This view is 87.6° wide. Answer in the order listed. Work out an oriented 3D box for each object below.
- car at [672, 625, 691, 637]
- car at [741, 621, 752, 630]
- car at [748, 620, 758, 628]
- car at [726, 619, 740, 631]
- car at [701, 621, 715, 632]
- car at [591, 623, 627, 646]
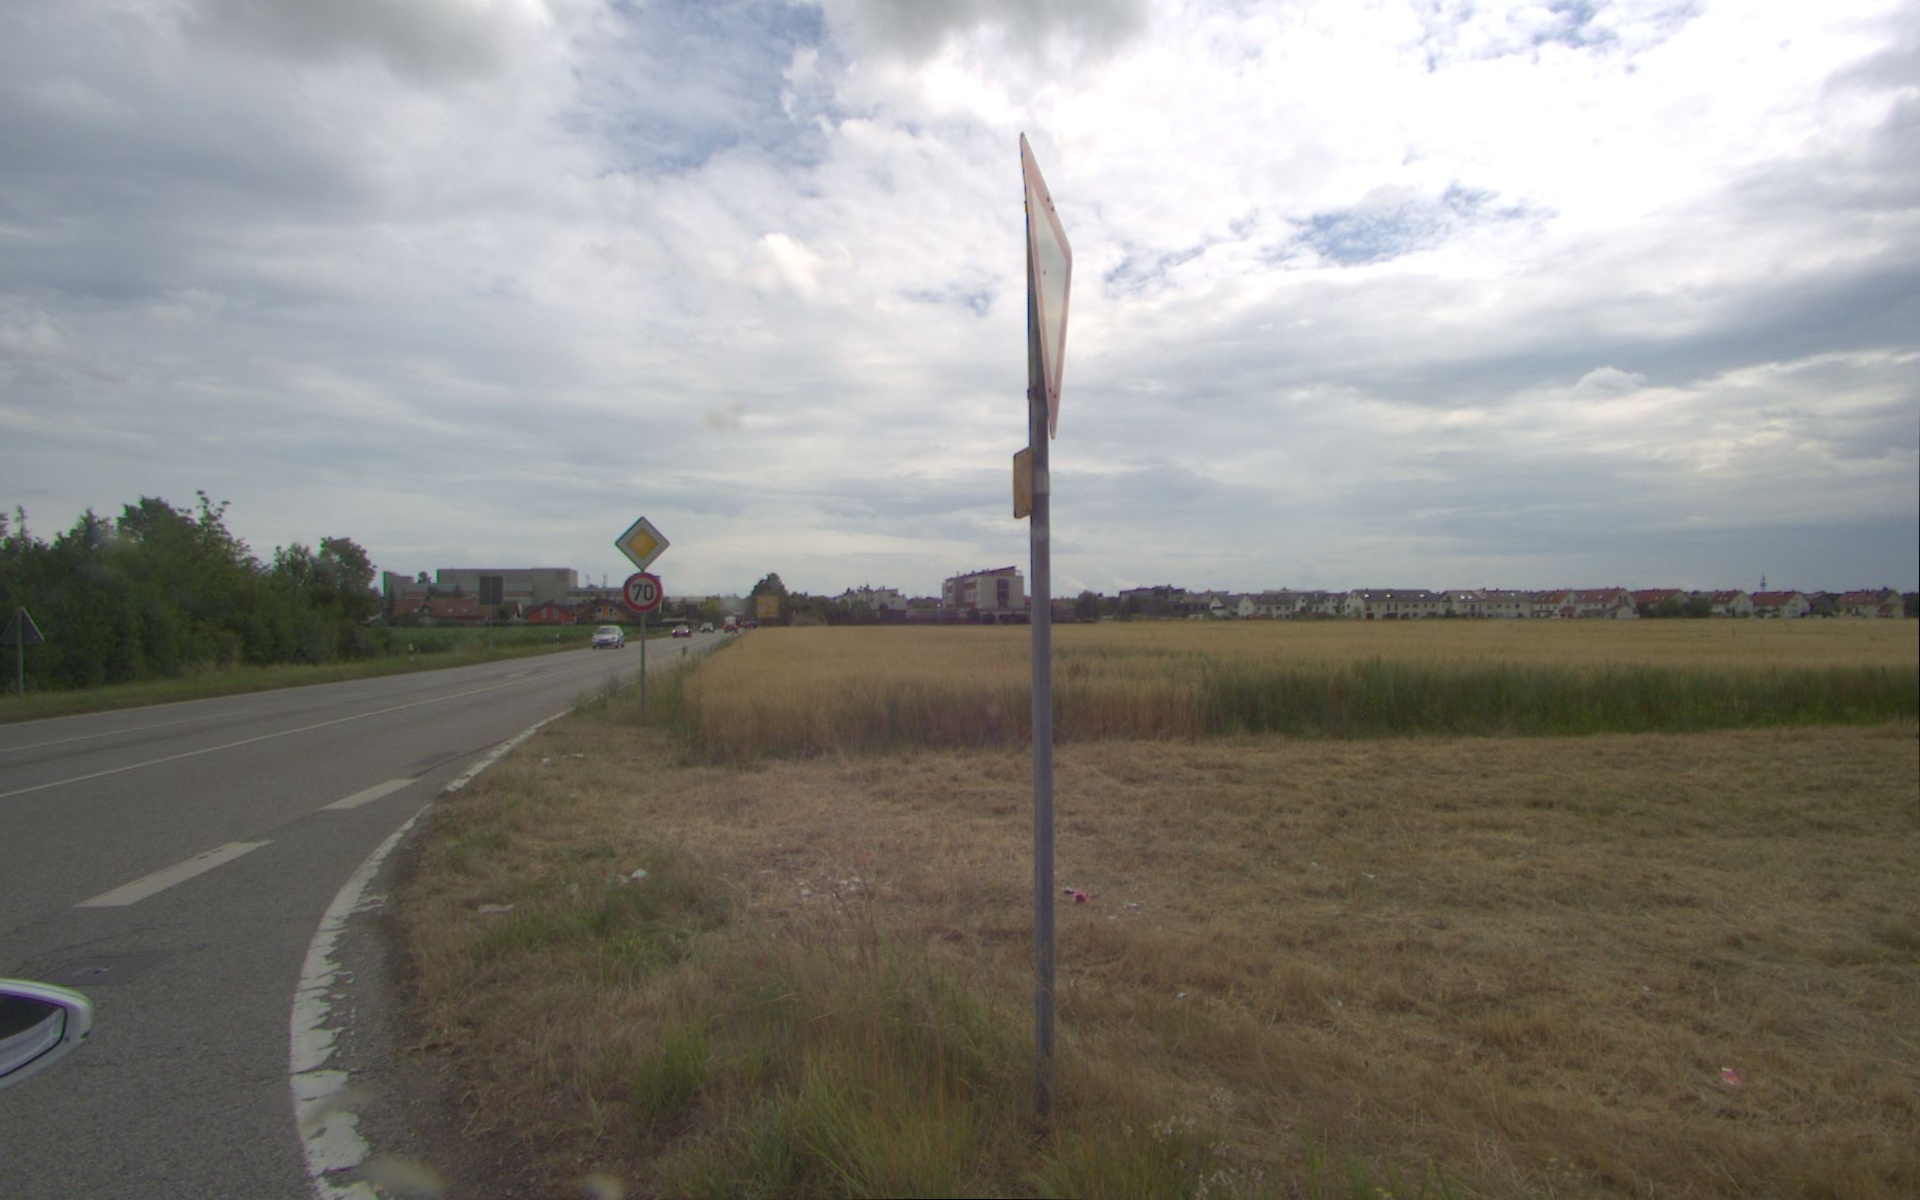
[{"bbox_3d":[-30.749,3.364,110.753,1.744,1.257,4.208,-1,-1,-12],"label":"car"},{"bbox_3d":[-43.840,5.200,205.702,1.828,1.750,3.998,0,-1,-8],"label":"car"},{"bbox_3d":[-46.309,5.432,223.911,1.828,1.750,3.998,0,-1,-8],"label":"car"},{"bbox_3d":[-32.587,3.587,143.611,1.829,1.586,3.997,0,-1,-11],"label":"car"},{"bbox_3d":[-37.135,3.907,147.743,1.643,1.448,4.300,-2,-1,-11],"label":"car"},{"bbox_3d":[-24.009,2.321,68.645,1.703,1.450,3.932,-2,-1,-11],"label":"car"}]
